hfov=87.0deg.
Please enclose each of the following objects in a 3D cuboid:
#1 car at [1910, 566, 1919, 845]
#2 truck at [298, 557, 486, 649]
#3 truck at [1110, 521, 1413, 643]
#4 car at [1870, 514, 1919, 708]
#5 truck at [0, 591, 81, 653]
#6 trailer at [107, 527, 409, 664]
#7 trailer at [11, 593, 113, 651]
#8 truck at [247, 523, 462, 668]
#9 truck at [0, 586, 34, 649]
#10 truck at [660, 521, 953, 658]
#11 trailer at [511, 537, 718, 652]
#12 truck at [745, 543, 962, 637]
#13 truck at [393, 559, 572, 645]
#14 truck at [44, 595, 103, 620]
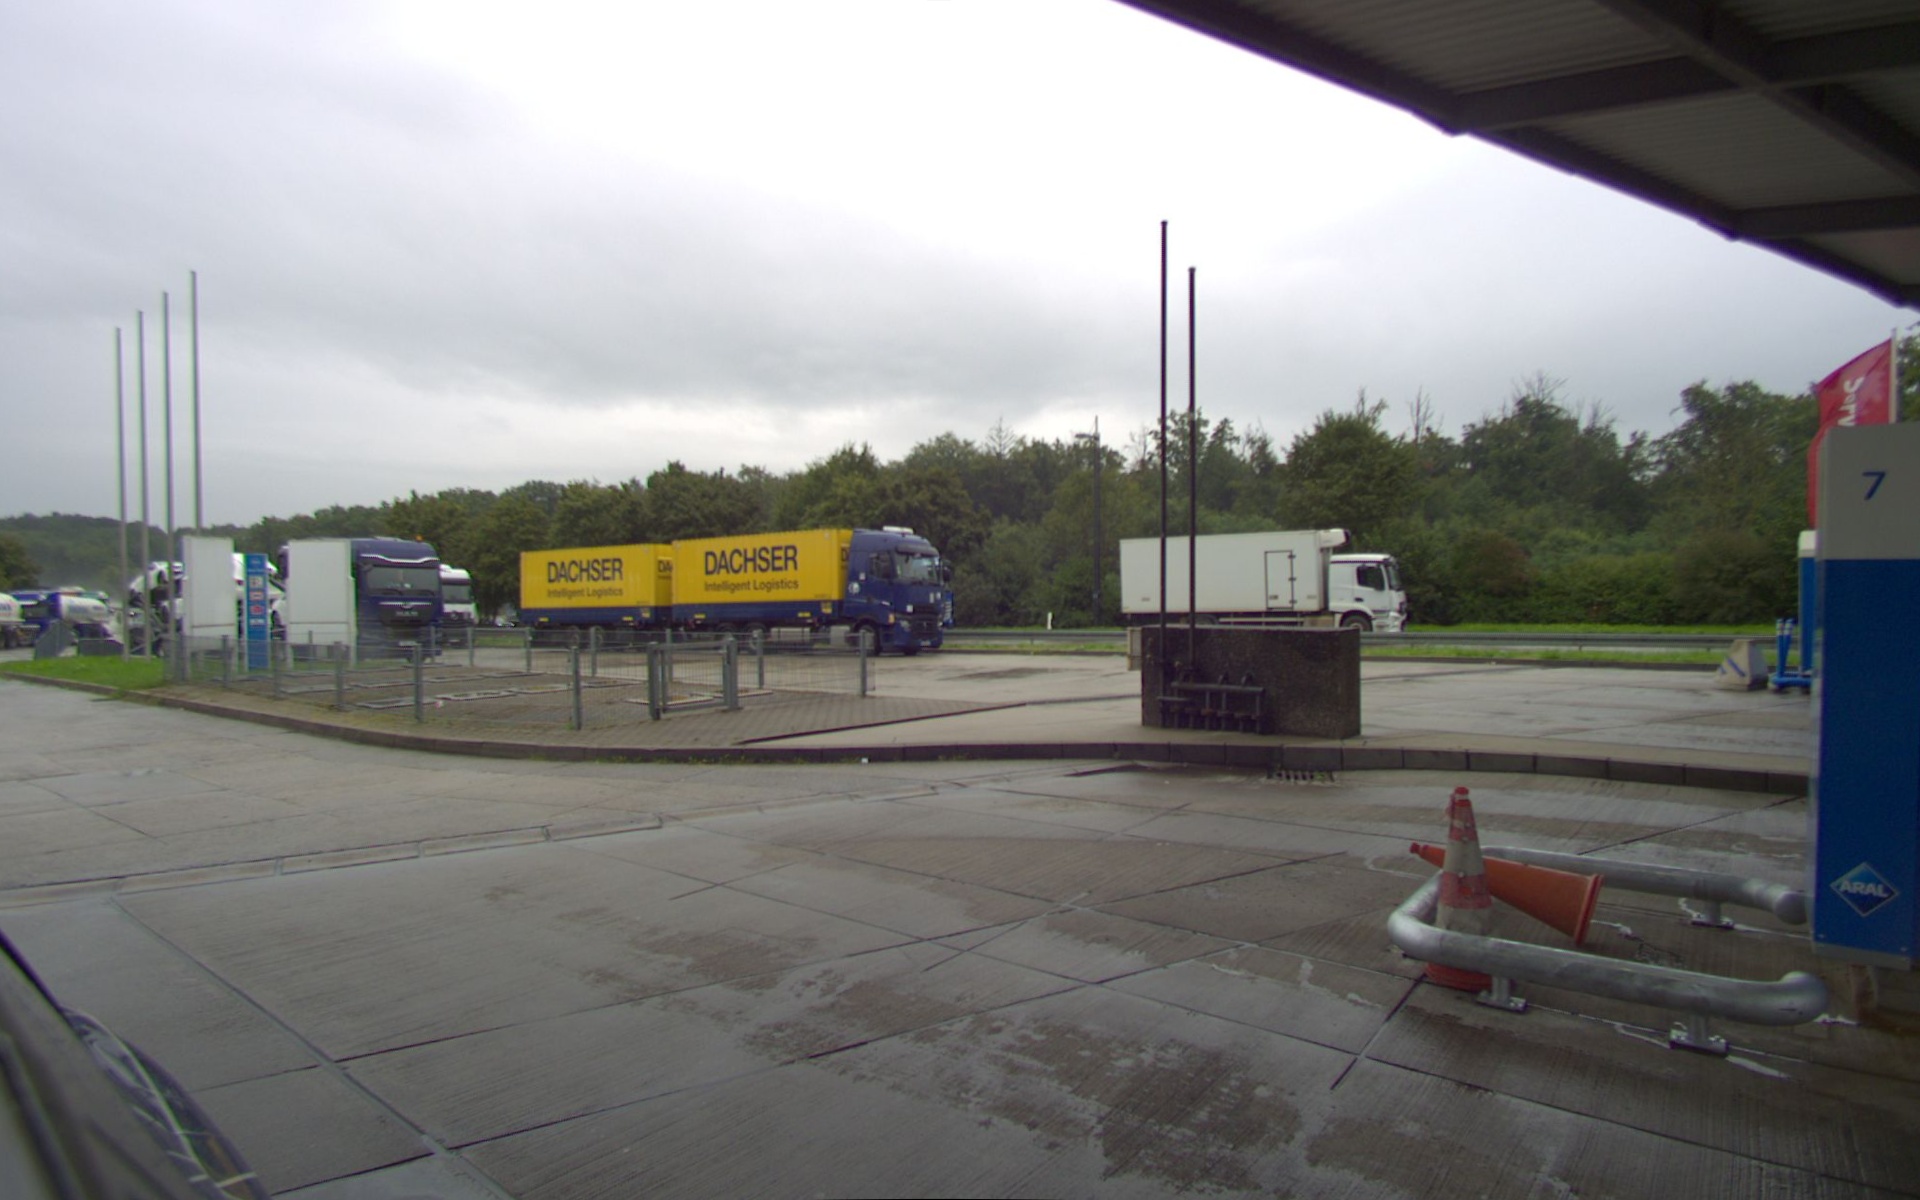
[{"bbox_3d":[6.951,0.562,3.600,4.996,1.576,1.797,-1,0,37],"label":"car"},{"bbox_3d":[-27.311,0.177,48.454,10.433,4.063,2.961,-1,0,30],"label":"truck"},{"bbox_3d":[11.044,-0.558,37.717,10.433,4.063,2.961,-1,0,30],"label":"truck"},{"bbox_3d":[14.879,0.118,12.410,5.272,2.482,2.298,-1,-2,37],"label":"car"},{"bbox_3d":[-59.433,1.368,65.005,3.000,3.795,6.486,-1,0,-27],"label":"truck"},{"bbox_3d":[-25.428,-0.055,35.933,16.563,4.063,2.957,-1,0,34],"label":"trailer"},{"bbox_3d":[-62.279,1.431,70.492,2.854,3.666,10.605,-1,0,-28],"label":"trailer"},{"bbox_3d":[-19.004,-0.112,31.629,7.244,4.063,2.957,-1,0,34],"label":"truck"},{"bbox_3d":[-55.568,1.016,55.026,3.196,3.591,12.013,-1,0,-19],"label":"truck"},{"bbox_3d":[-5.401,-0.267,33.962,10.608,4.063,2.743,-1,0,33],"label":"truck"},{"bbox_3d":[-13.557,-0.164,39.296,8.833,4.063,2.743,-1,0,33],"label":"trailer"},{"bbox_3d":[-5.150,-0.373,47.697,10.433,4.063,2.961,-1,0,30],"label":"truck"},{"bbox_3d":[-24.790,0.142,52.283,10.433,4.063,2.961,-1,0,30],"label":"truck"},{"bbox_3d":[-137.280,1.130,156.554,14.626,3.591,3.215,-1,-1,34],"label":"truck"}]
